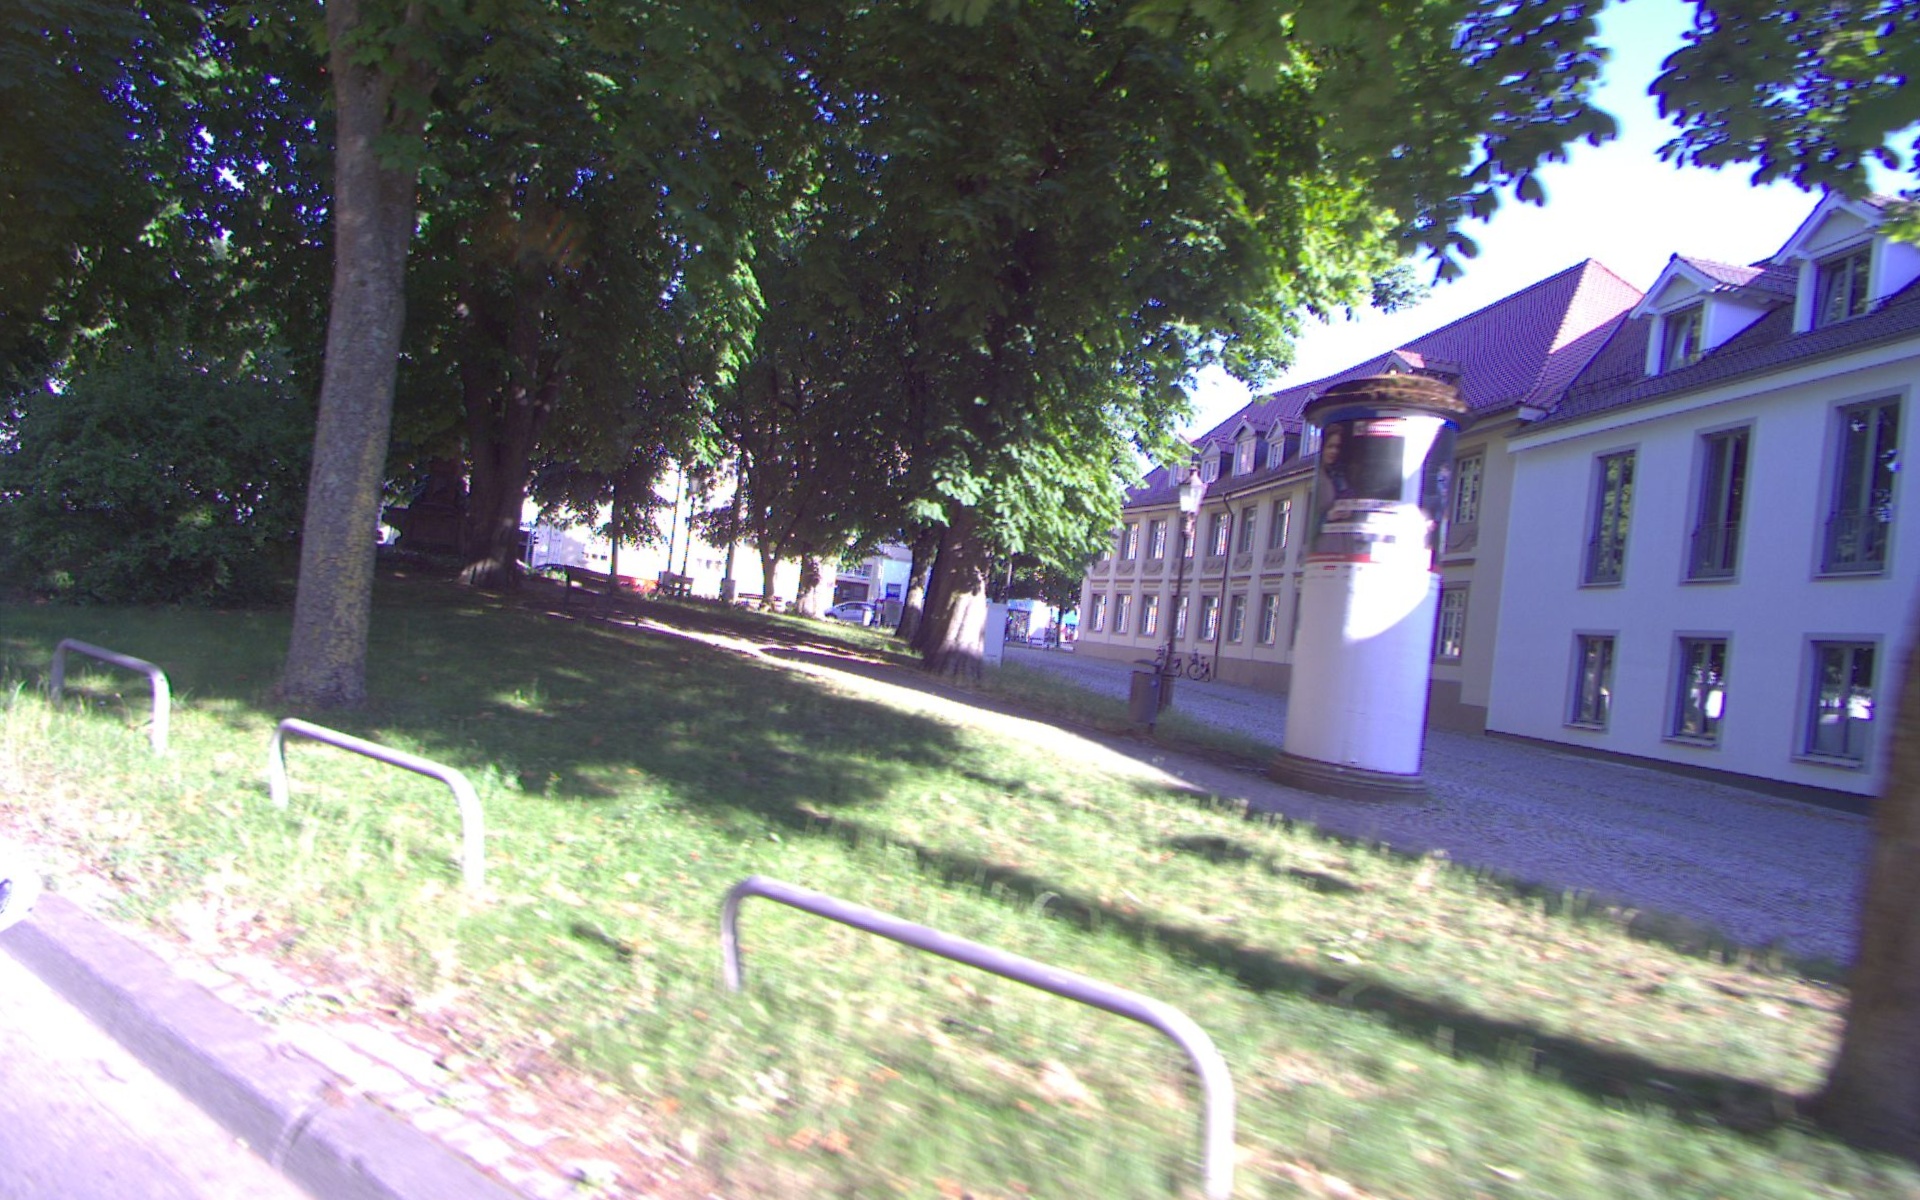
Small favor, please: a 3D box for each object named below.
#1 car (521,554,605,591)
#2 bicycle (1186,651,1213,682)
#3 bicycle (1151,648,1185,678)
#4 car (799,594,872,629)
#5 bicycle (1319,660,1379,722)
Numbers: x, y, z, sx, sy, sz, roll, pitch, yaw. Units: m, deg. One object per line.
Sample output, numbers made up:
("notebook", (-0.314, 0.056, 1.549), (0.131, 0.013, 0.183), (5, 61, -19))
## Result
("car", (-20.838, -1.449, 52.958), (3.739, 1.440, 1.671), (7, 0, -13))
("bicycle", (8.582, 2.386, 36.144), (0.506, 0.970, 1.761), (6, 0, 2))
("bicycle", (7.842, 2.367, 37.958), (0.507, 0.970, 1.757), (6, 0, -11))
("car", (-6.931, 0.635, 55.846), (3.738, 1.440, 1.672), (7, 0, -12))
("bicycle", (9.637, 2.224, 24.986), (0.709, 1.334, 1.764), (7, 0, 2))
